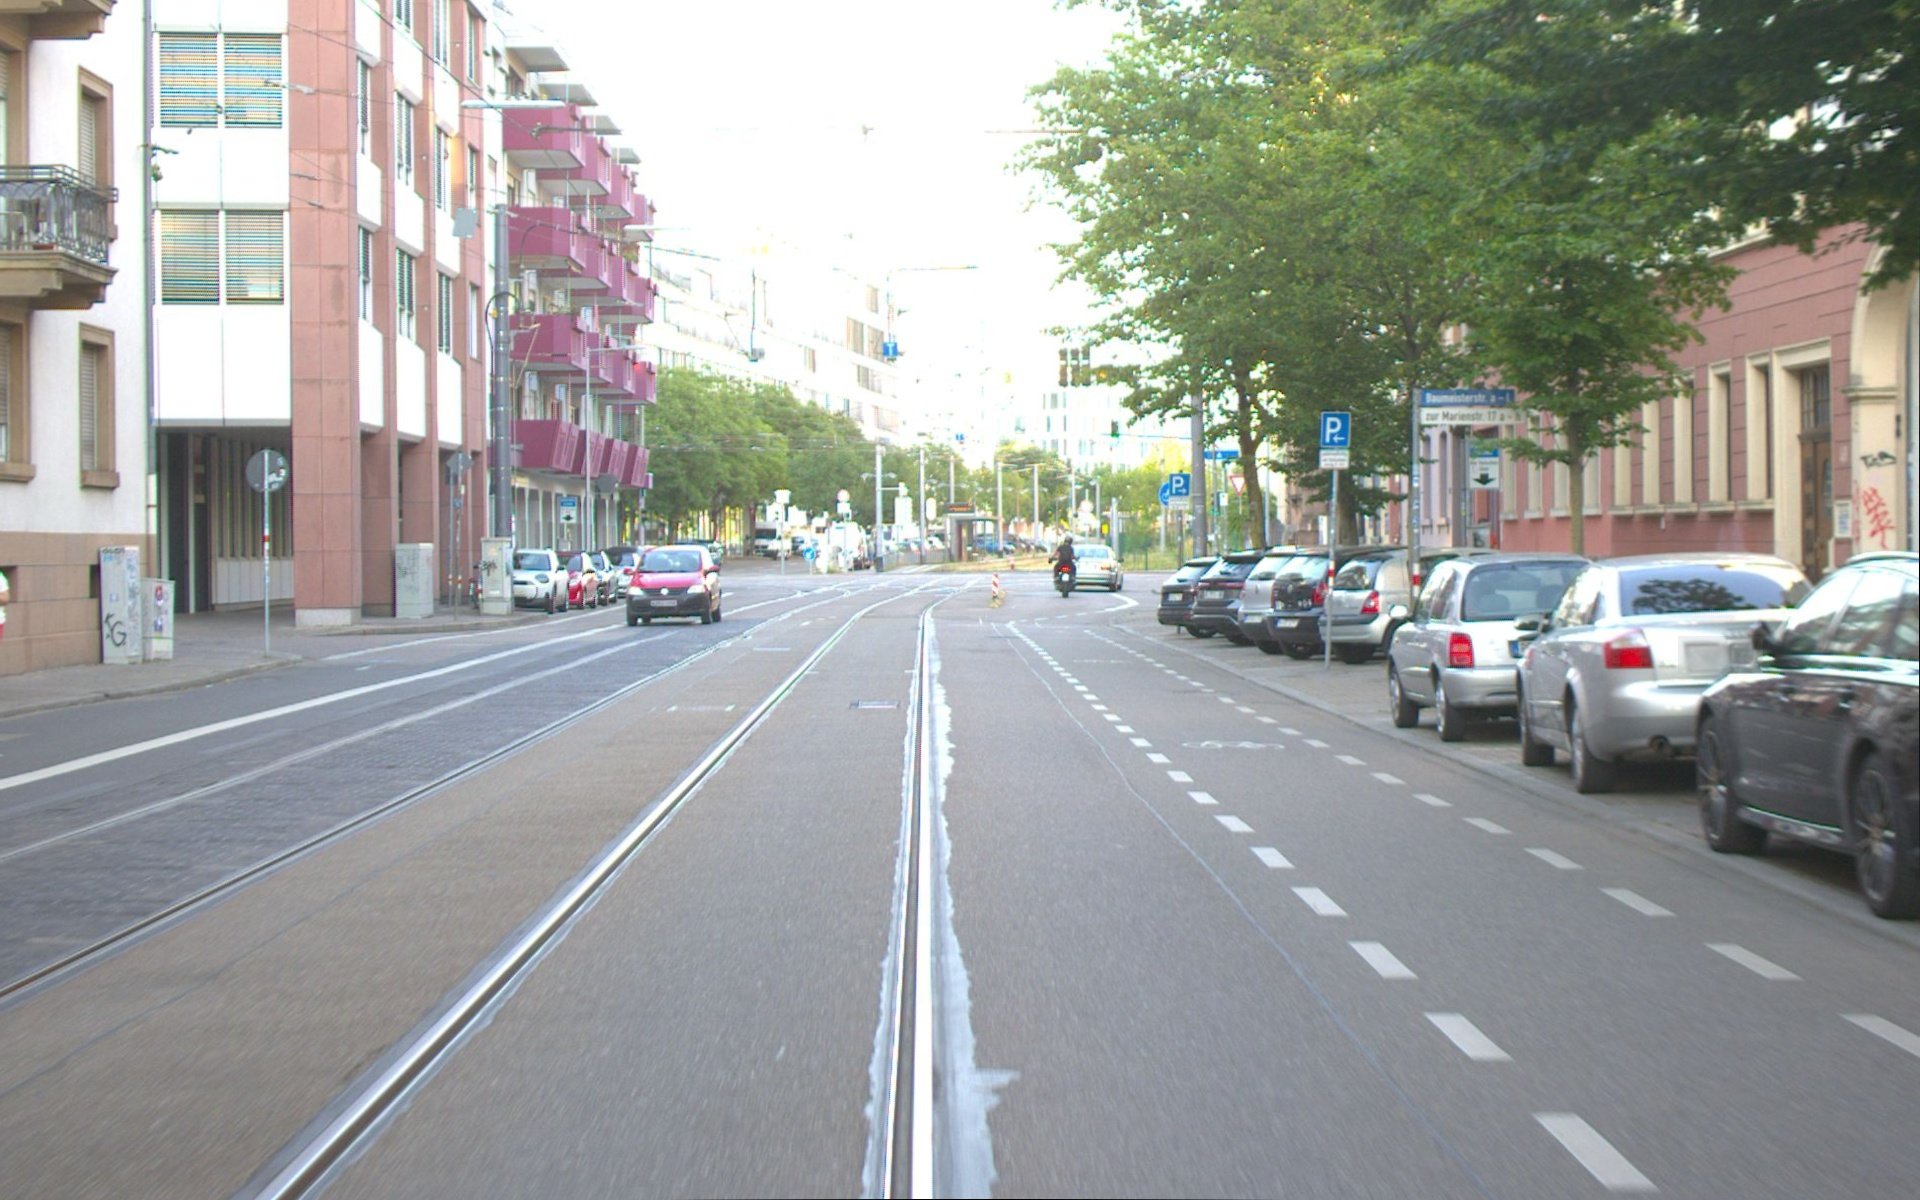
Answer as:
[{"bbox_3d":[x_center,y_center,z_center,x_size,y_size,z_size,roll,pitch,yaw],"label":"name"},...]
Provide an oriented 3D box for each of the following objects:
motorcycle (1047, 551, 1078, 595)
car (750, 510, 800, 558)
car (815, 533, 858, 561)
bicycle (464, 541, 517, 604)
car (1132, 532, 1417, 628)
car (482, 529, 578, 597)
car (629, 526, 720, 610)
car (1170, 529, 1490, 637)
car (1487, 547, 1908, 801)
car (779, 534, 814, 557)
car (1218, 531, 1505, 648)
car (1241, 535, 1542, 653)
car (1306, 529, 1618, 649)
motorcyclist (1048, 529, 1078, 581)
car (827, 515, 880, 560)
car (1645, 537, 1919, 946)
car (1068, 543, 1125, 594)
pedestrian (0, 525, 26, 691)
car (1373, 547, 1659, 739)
[{"bbox_3d":[2.922,-0.779,97.752,0.828,1.236,2.491,0,1,3],"label":"motorcycle"},{"bbox_3d":[-12.184,-4.369,226.859,2.202,3.141,6.141,0,1,8],"label":"car"},{"bbox_3d":[-6.635,-2.851,184.628,1.683,1.434,4.125,0,1,7],"label":"car"},{"bbox_3d":[-10.547,-0.626,77.268,0.609,1.373,2.258,0,1,7],"label":"bicycle"},{"bbox_3d":[5.413,-0.357,59.132,4.604,1.452,1.711,-3,2,-25],"label":"car"},{"bbox_3d":[-10.223,-0.887,81.901,1.717,1.550,4.204,1,1,0],"label":"car"},{"bbox_3d":[-5.598,-0.655,67.692,1.559,1.552,3.755,-2,1,-2],"label":"car"},{"bbox_3d":[5.705,-0.280,53.033,4.443,1.511,2.064,-2,1,-23],"label":"car"},{"bbox_3d":[4.588,0.388,22.053,1.780,1.376,4.691,-2,1,2],"label":"car"},{"bbox_3d":[-11.235,-3.743,236.120,1.683,1.496,4.238,0,1,8],"label":"car"},{"bbox_3d":[5.590,-0.168,47.845,3.554,1.511,1.744,-2,1,-25],"label":"car"},{"bbox_3d":[5.675,-0.101,45.201,3.554,1.424,1.669,-2,1,-25],"label":"car"},{"bbox_3d":[6.276,-0.138,43.065,3.481,1.424,1.621,-1,0,-19],"label":"car"},{"bbox_3d":[2.927,-1.300,97.905,0.828,1.468,1.207,0,1,2],"label":"motorcyclist"},{"bbox_3d":[-5.883,-3.467,190.629,2.461,2.474,5.808,0,1,3],"label":"car"},{"bbox_3d":[4.520,0.471,15.080,1.993,1.484,5.036,-1,1,0],"label":"car"},{"bbox_3d":[4.346,-1.020,110.062,1.717,1.550,4.204,1,1,1],"label":"car"},{"bbox_3d":[-9.546,0.069,33.678,0.590,1.604,0.811,0,1,-3],"label":"pedestrian"},{"bbox_3d":[4.405,0.297,27.732,1.619,1.376,3.776,-2,1,-1],"label":"car"}]
